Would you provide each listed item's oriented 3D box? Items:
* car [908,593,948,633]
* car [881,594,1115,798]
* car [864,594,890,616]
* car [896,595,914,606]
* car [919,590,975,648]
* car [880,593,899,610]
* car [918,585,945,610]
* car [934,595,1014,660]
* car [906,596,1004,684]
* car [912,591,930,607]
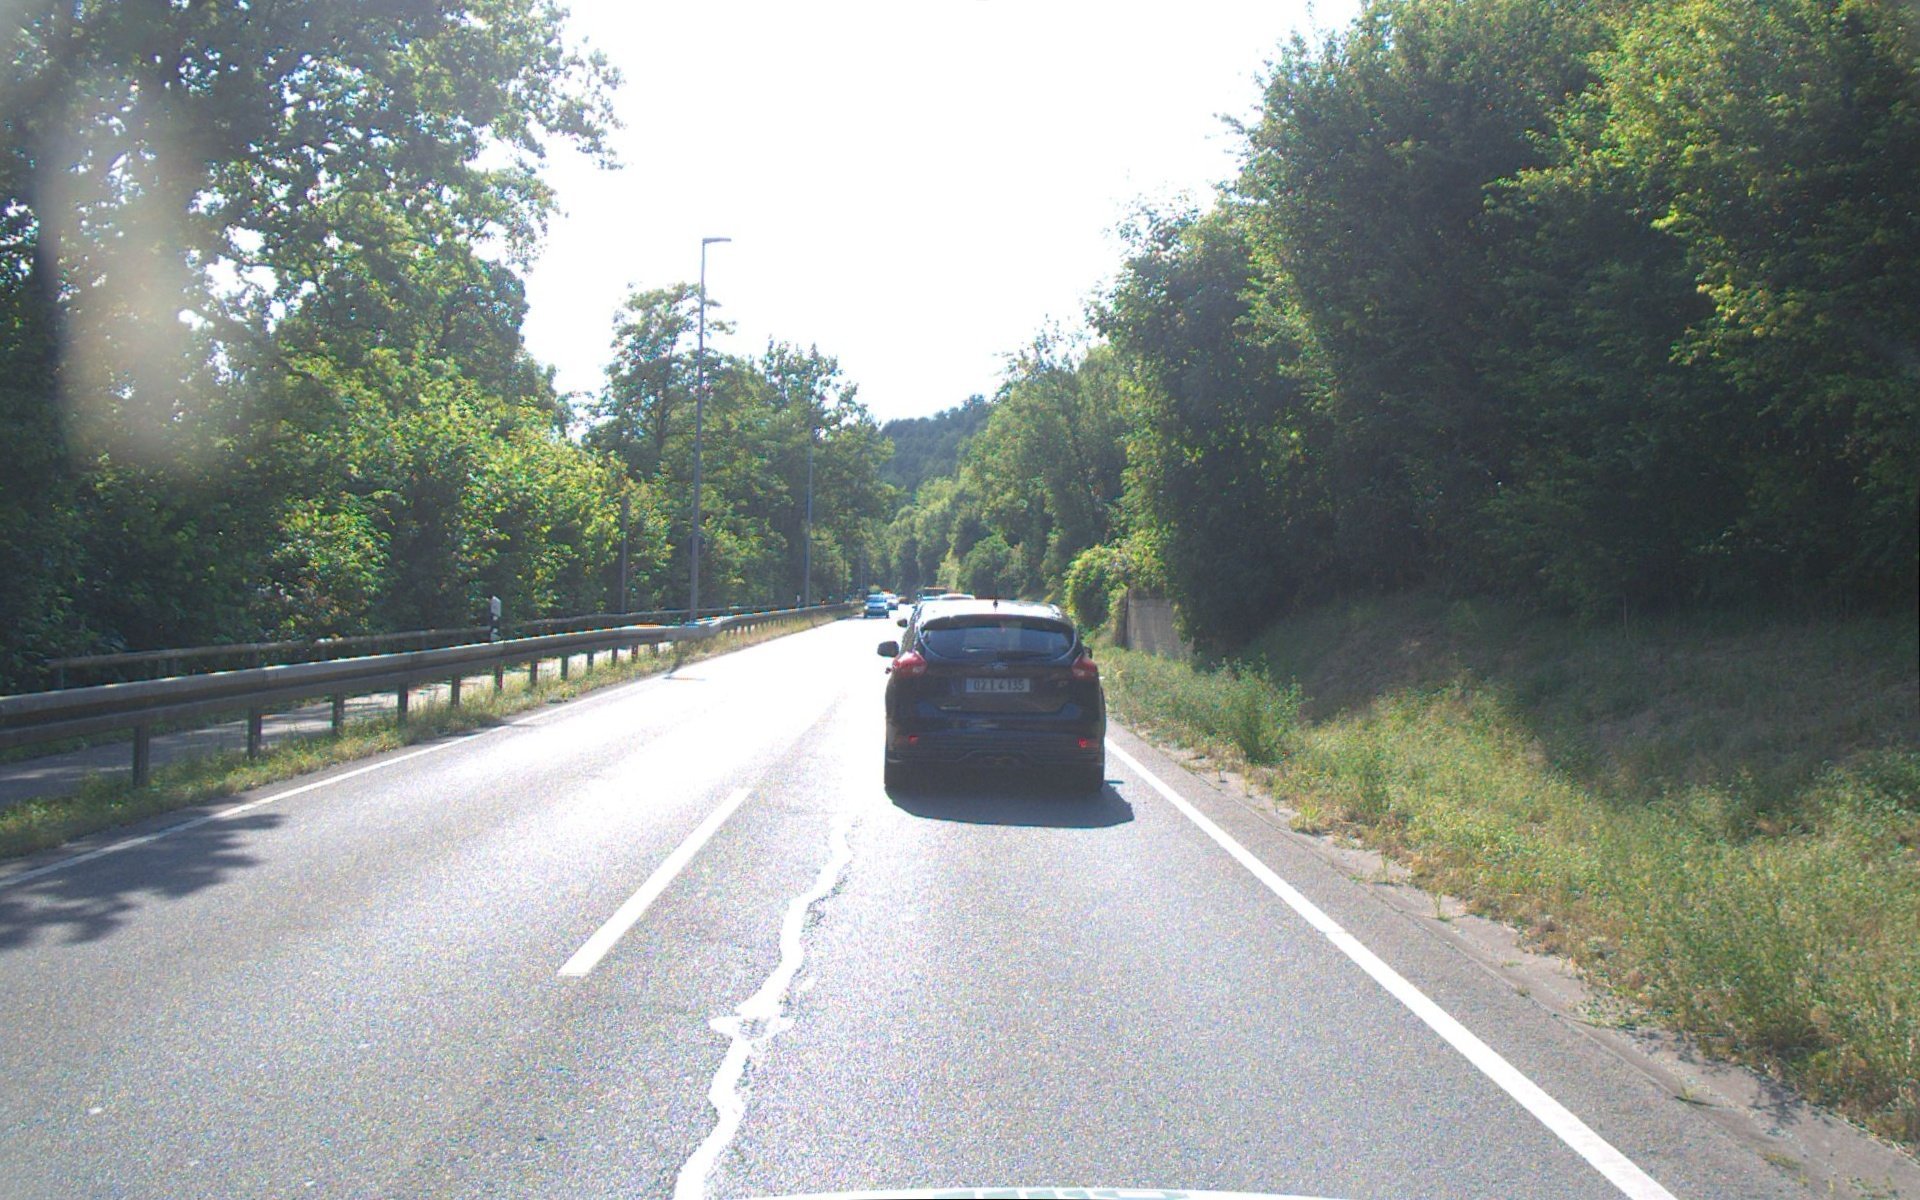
[{"bbox_3d":[-1.334,0.529,69.714,1.597,1.624,3.999,1,0,-1],"label":"car"},{"bbox_3d":[0.257,0.708,14.190,1.704,1.482,3.999,1,0,-1],"label":"car"},{"bbox_3d":[-5.439,0.304,108.670,1.590,1.401,4.046,0,0,-1],"label":"car"},{"bbox_3d":[-7.531,0.052,225.780,1.956,1.545,3.993,1,0,-8],"label":"car"},{"bbox_3d":[-0.397,0.536,49.472,1.597,1.624,3.999,1,0,-1],"label":"car"},{"bbox_3d":[-6.298,0.130,147.866,1.647,1.489,4.196,1,0,-1],"label":"car"},{"bbox_3d":[-2.139,-0.160,122.600,1.826,1.812,3.997,1,0,-4],"label":"car"},{"bbox_3d":[0.296,0.613,38.959,1.768,1.416,3.999,1,0,-1],"label":"car"},{"bbox_3d":[-0.059,0.666,29.565,1.627,1.443,4.000,1,0,1],"label":"car"},{"bbox_3d":[-4.048,-0.106,170.450,1.782,1.545,3.999,1,0,-1],"label":"car"}]
